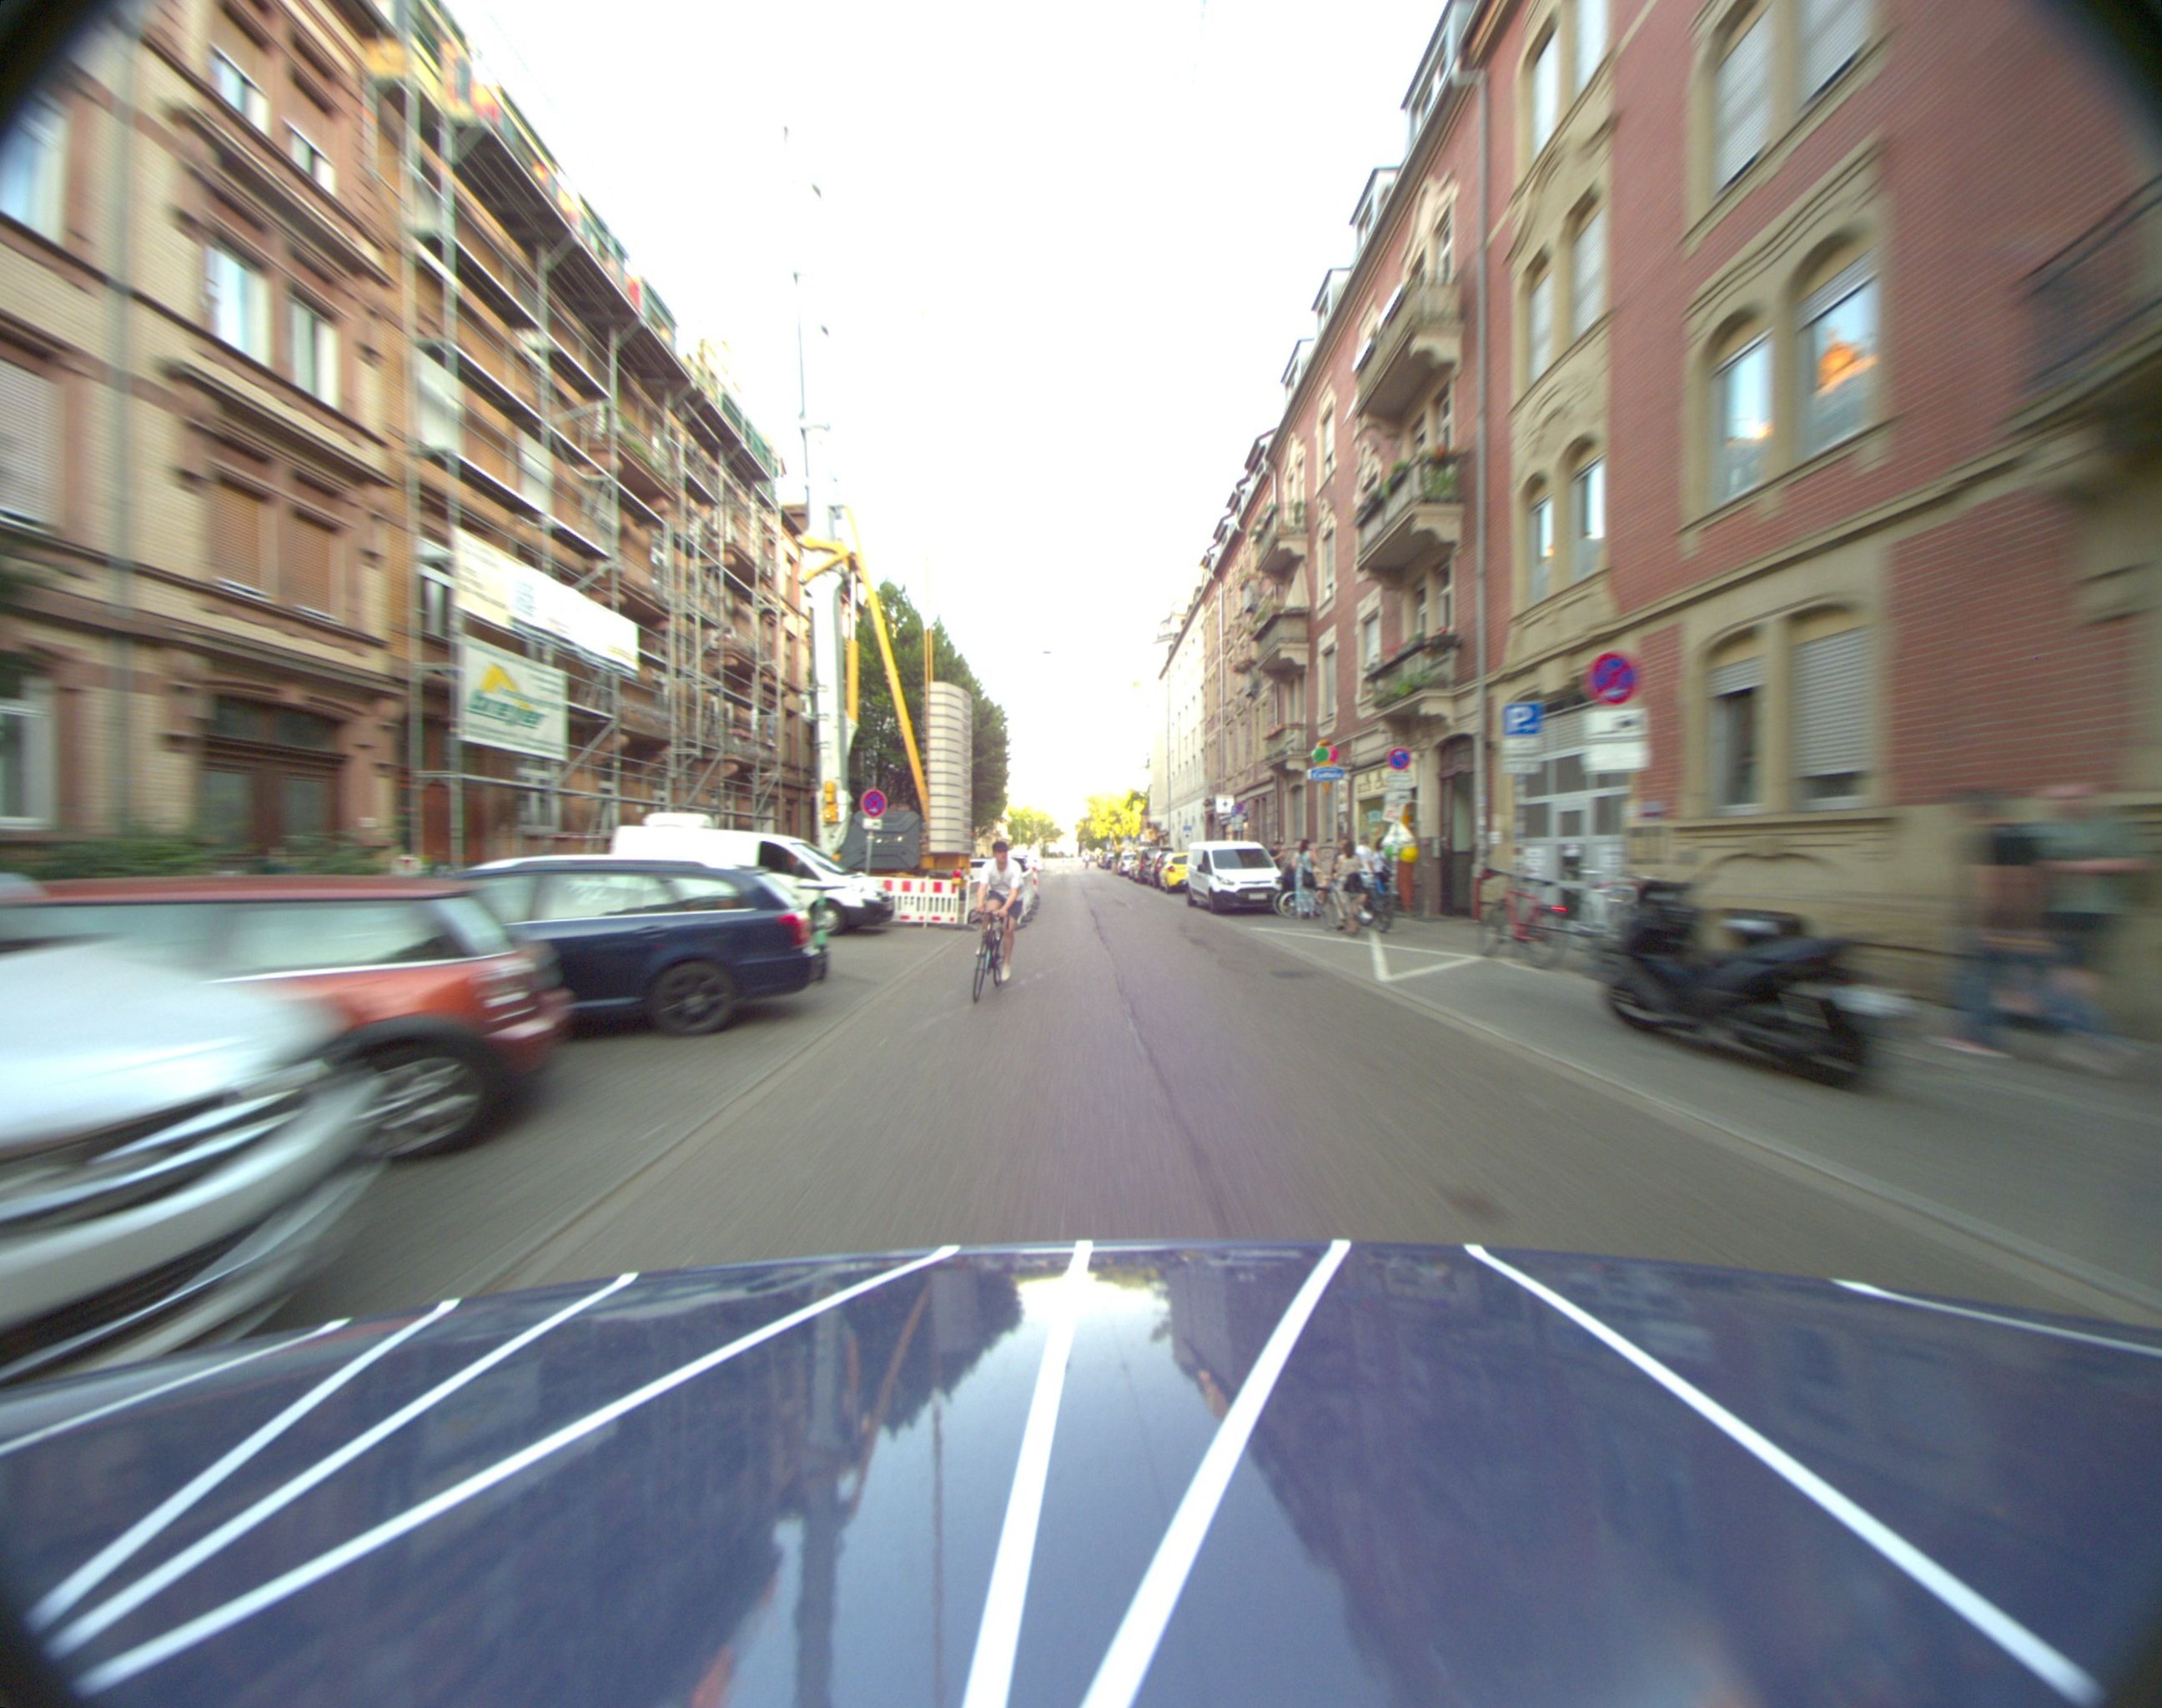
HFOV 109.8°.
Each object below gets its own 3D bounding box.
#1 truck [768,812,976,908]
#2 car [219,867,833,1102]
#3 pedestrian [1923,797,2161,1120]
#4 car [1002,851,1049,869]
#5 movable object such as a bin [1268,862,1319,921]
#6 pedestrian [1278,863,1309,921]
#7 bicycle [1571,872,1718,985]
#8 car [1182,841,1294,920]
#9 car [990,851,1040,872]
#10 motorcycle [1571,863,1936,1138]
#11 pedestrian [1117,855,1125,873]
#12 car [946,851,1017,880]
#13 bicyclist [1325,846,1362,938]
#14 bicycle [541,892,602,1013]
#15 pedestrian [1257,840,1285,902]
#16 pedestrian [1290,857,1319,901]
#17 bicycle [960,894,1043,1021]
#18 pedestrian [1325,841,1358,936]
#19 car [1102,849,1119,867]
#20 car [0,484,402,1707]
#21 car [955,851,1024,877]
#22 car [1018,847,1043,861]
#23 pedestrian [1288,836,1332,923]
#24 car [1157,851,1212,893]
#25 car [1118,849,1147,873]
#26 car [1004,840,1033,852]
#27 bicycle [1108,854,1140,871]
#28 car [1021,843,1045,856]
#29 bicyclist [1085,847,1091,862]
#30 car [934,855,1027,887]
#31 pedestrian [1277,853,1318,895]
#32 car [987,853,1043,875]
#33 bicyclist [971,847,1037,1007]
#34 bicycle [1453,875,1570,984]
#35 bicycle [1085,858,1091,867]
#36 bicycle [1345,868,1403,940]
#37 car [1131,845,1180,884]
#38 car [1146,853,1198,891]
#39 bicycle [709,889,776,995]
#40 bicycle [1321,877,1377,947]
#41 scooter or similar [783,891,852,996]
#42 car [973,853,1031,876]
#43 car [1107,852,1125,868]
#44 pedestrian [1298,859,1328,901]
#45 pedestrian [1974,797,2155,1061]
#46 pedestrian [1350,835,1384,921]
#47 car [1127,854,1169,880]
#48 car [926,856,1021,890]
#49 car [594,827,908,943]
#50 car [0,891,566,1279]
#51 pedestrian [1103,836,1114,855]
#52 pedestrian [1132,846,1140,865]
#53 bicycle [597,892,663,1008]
[{"bbox_3d":[-7.210,0.198,26.829,6.495,3.059,2.524,-2,1,3],"label":"truck"},{"bbox_3d":[-4.330,0.884,6.676,3.873,1.507,1.844,0,0,-26],"label":"car"},{"bbox_3d":[5.981,0.575,4.781,0.682,1.800,0.963,-1,2,33],"label":"pedestrian"},{"bbox_3d":[-5.023,0.585,68.975,3.842,1.510,1.673,2,1,-33],"label":"car"},{"bbox_3d":[4.734,0.832,16.975,0.890,1.244,0.776,-2,1,0],"label":"movable object such as a bin"},{"bbox_3d":[4.758,0.831,17.004,0.479,1.244,0.652,-2,1,0],"label":"pedestrian"},{"bbox_3d":[6.757,0.841,9.227,0.413,1.153,1.837,-2,1,0],"label":"bicycle"},{"bbox_3d":[3.909,0.583,19.735,1.775,1.778,4.585,-1,1,-2],"label":"car"},{"bbox_3d":[-5.715,0.651,65.875,3.841,1.639,1.674,2,1,-28],"label":"car"},{"bbox_3d":[4.226,0.798,5.047,0.686,1.397,2.014,-2,1,2],"label":"motorcycle"},{"bbox_3d":[3.100,0.785,59.151,0.571,1.315,0.496,-2,1,-2],"label":"pedestrian"},{"bbox_3d":[-5.653,0.660,43.286,3.638,1.508,1.621,2,0,-29],"label":"car"},{"bbox_3d":[4.605,0.656,13.342,0.467,1.581,0.487,-2,1,3],"label":"bicyclist"},{"bbox_3d":[-5.667,1.020,8.433,0.497,1.129,1.809,1,-1,-35],"label":"bicycle"},{"bbox_3d":[5.440,0.486,21.722,0.619,1.720,0.586,-1,2,28],"label":"pedestrian"},{"bbox_3d":[6.554,0.726,22.308,0.620,1.244,0.585,-2,1,-2],"label":"pedestrian"},{"bbox_3d":[-0.845,1.086,8.513,0.520,1.148,1.783,-2,1,6],"label":"bicycle"},{"bbox_3d":[4.716,0.615,13.773,0.419,1.699,0.350,-2,1,-6],"label":"pedestrian"},{"bbox_3d":[3.299,0.377,85.195,1.786,1.860,4.457,-2,1,1],"label":"car"},{"bbox_3d":[-4.558,0.512,1.114,4.946,2.348,1.996,0,0,-27],"label":"car"},{"bbox_3d":[-5.582,0.616,46.344,3.807,1.508,1.646,2,0,-33],"label":"car"},{"bbox_3d":[-9.017,-0.005,136.566,4.202,2.280,1.673,1,1,-40],"label":"car"},{"bbox_3d":[4.910,0.532,16.303,0.600,1.804,0.720,-2,1,-9],"label":"pedestrian"},{"bbox_3d":[3.997,0.674,29.886,1.709,1.521,3.792,-1,0,1],"label":"car"},{"bbox_3d":[3.670,0.461,54.285,1.730,1.638,3.916,-2,0,-1],"label":"car"},{"bbox_3d":[-9.034,-1.181,110.316,3.841,1.510,1.673,2,1,-29],"label":"car"},{"bbox_3d":[3.687,0.717,64.729,2.619,1.390,0.602,-2,1,12],"label":"bicycle"},{"bbox_3d":[-9.157,-0.826,144.996,4.202,2.246,1.673,2,1,-36],"label":"car"},{"bbox_3d":[0.790,0.057,86.182,0.624,1.682,1.003,-2,1,-2],"label":"bicyclist"},{"bbox_3d":[-4.992,0.858,37.930,4.179,1.479,1.826,2,0,-37],"label":"car"},{"bbox_3d":[6.521,0.594,22.880,1.041,1.196,0.503,-2,1,-3],"label":"pedestrian"},{"bbox_3d":[-5.039,0.764,57.954,3.841,1.556,1.673,2,1,-30],"label":"car"},{"bbox_3d":[-0.847,0.779,8.495,0.528,1.694,0.790,-2,1,6],"label":"bicyclist"},{"bbox_3d":[5.349,0.881,9.563,0.413,1.153,1.837,-2,1,0],"label":"bicycle"},{"bbox_3d":[0.793,0.926,86.268,0.477,0.938,1.895,-2,1,-2],"label":"bicycle"},{"bbox_3d":[5.301,0.868,13.839,0.466,1.148,2.001,-2,1,6],"label":"bicycle"},{"bbox_3d":[3.839,0.504,39.770,1.932,1.872,4.904,-1,0,-1],"label":"car"},{"bbox_3d":[4.067,0.757,34.503,1.932,1.587,3.969,-1,0,1],"label":"car"},{"bbox_3d":[-4.240,1.034,9.464,0.497,1.129,1.810,1,-1,-32],"label":"bicycle"},{"bbox_3d":[4.603,0.966,13.112,0.467,1.062,1.520,-2,1,3],"label":"bicycle"},{"bbox_3d":[-3.342,1.068,9.569,0.658,1.143,1.481,1,0,-25],"label":"scooter or similar"},{"bbox_3d":[-5.759,0.777,55.267,3.839,1.556,1.674,2,1,-22],"label":"car"},{"bbox_3d":[3.661,0.597,80.223,1.786,1.537,3.999,-2,1,1],"label":"car"},{"bbox_3d":[6.534,0.735,21.410,0.633,1.133,0.573,-2,1,-2],"label":"pedestrian"},{"bbox_3d":[7.018,0.505,5.453,0.464,1.779,0.642,-2,1,3],"label":"pedestrian"},{"bbox_3d":[6.090,0.497,16.196,0.598,1.804,0.721,-1,1,18],"label":"pedestrian"},{"bbox_3d":[3.920,0.747,45.197,1.932,1.422,4.480,-1,0,-1],"label":"car"},{"bbox_3d":[-4.918,0.881,34.946,4.003,1.479,1.680,2,0,-35],"label":"car"},{"bbox_3d":[-6.176,0.587,14.724,5.187,1.944,1.899,2,-1,-2],"label":"car"},{"bbox_3d":[-4.851,0.971,3.672,3.874,1.400,1.754,0,1,-33],"label":"car"},{"bbox_3d":[4.024,-1.297,110.565,1.445,2.725,1.011,-2,1,-2],"label":"pedestrian"},{"bbox_3d":[5.067,0.151,69.933,0.566,1.723,0.562,-2,1,-2],"label":"pedestrian"},{"bbox_3d":[-5.223,1.034,8.754,0.497,1.129,1.809,1,-1,-35],"label":"bicycle"}]
